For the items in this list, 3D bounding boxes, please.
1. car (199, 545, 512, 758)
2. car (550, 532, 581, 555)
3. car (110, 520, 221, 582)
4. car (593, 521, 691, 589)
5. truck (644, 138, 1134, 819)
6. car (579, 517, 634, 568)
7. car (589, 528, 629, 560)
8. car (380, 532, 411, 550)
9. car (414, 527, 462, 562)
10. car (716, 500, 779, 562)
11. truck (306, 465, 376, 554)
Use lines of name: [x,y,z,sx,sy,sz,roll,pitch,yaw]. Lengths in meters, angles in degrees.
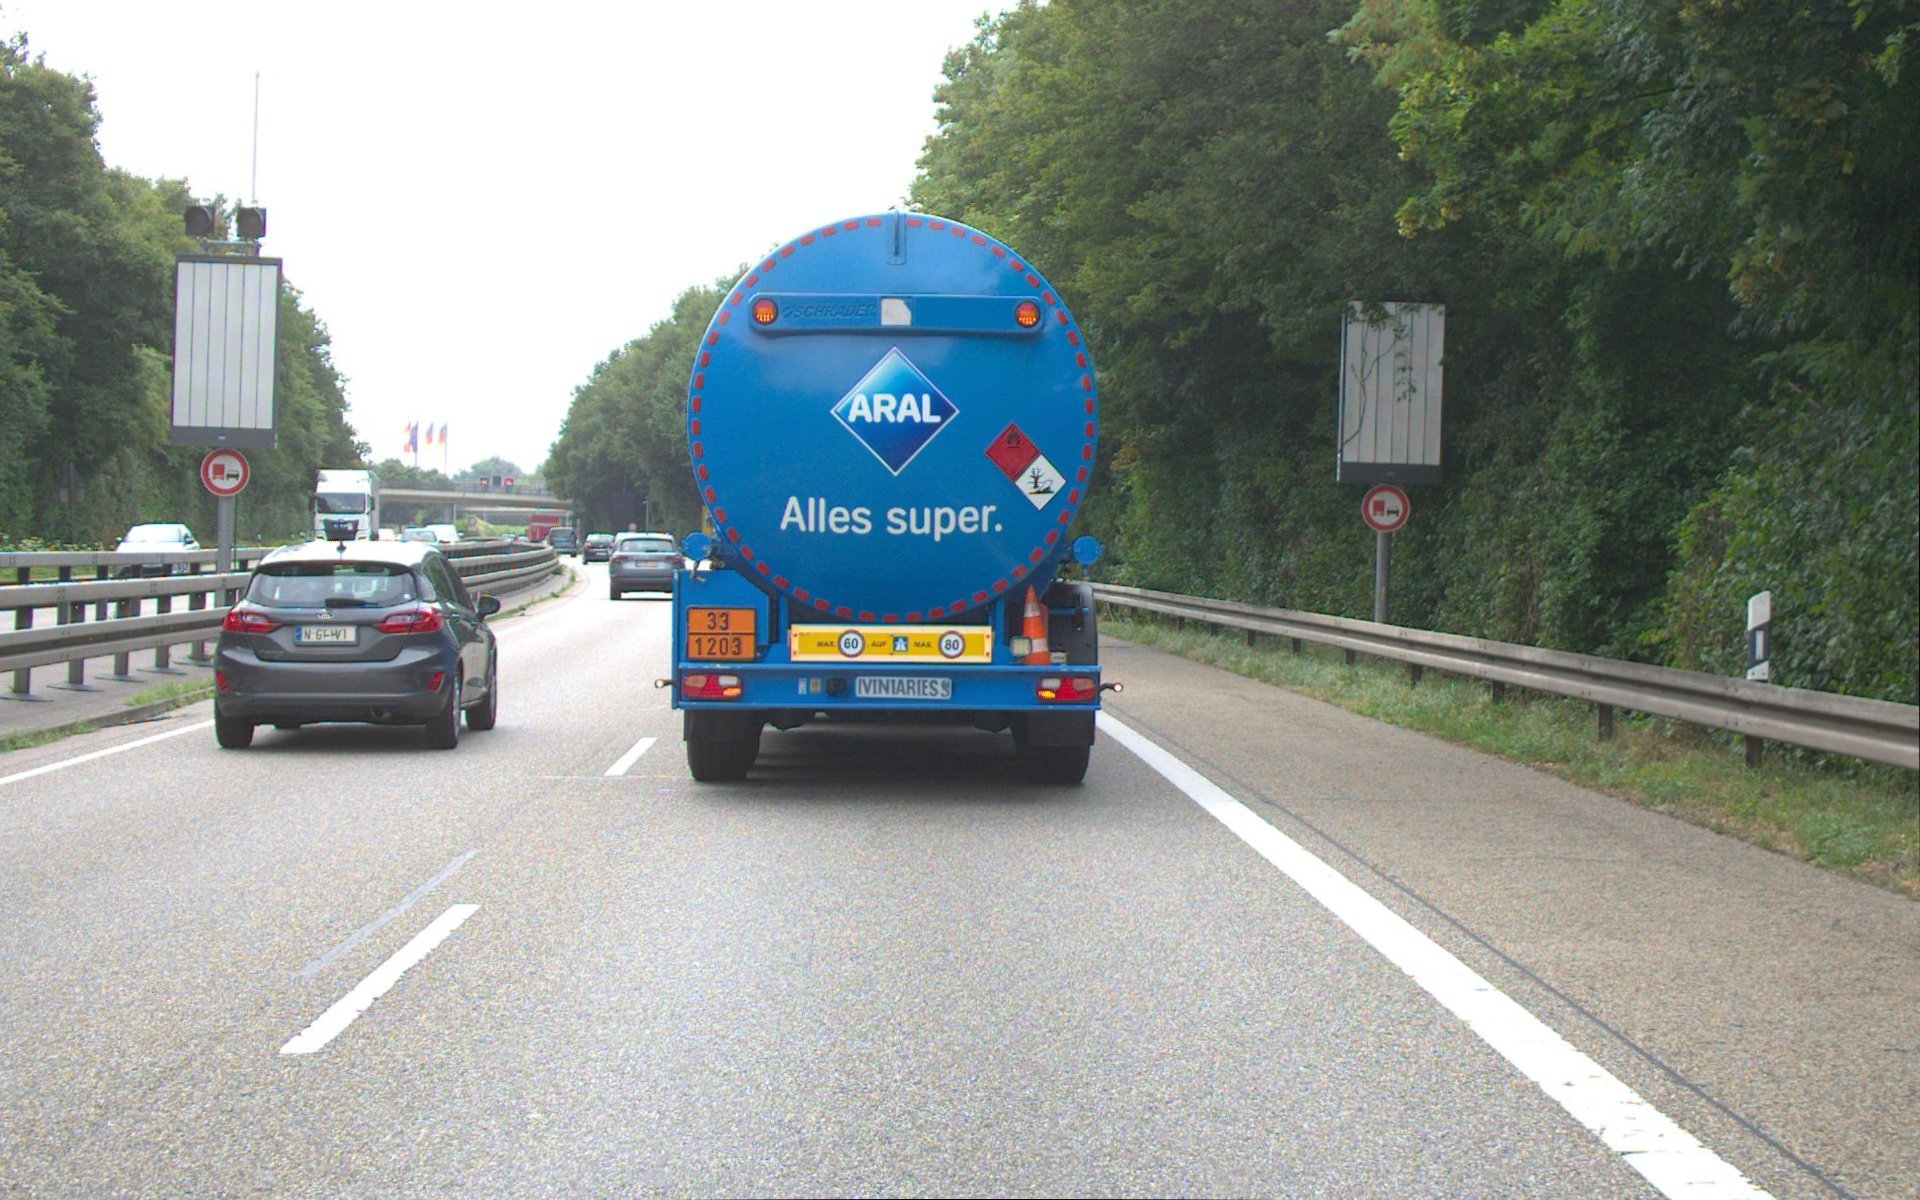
car: [-4.436,0.321,25.831,1.826,1.453,4.640,0,1,-4]
car: [-26.307,-3.758,229.491,1.993,1.546,4.001,0,1,-6]
car: [-19.450,-1.209,84.294,1.993,1.476,4.132,0,1,-3]
car: [-7.684,-1.088,83.338,1.826,1.604,4.167,0,1,2]
truck: [-0.508,-0.757,23.228,2.755,3.833,7.689,0,1,-2]
car: [-14.134,-2.300,137.420,1.993,2.007,4.001,0,1,-9]
car: [-17.635,-2.825,173.018,1.954,1.562,4.001,0,1,-5]
car: [-39.200,-4.097,238.807,1.742,1.185,4.291,0,1,-4]
car: [-23.392,-2.477,154.142,1.791,1.544,4.129,0,1,-4]
car: [-7.777,-2.511,125.633,1.993,2.237,4.001,0,1,-8]
truck: [-28.486,-4.141,158.333,2.692,4.049,5.323,0,1,-5]
